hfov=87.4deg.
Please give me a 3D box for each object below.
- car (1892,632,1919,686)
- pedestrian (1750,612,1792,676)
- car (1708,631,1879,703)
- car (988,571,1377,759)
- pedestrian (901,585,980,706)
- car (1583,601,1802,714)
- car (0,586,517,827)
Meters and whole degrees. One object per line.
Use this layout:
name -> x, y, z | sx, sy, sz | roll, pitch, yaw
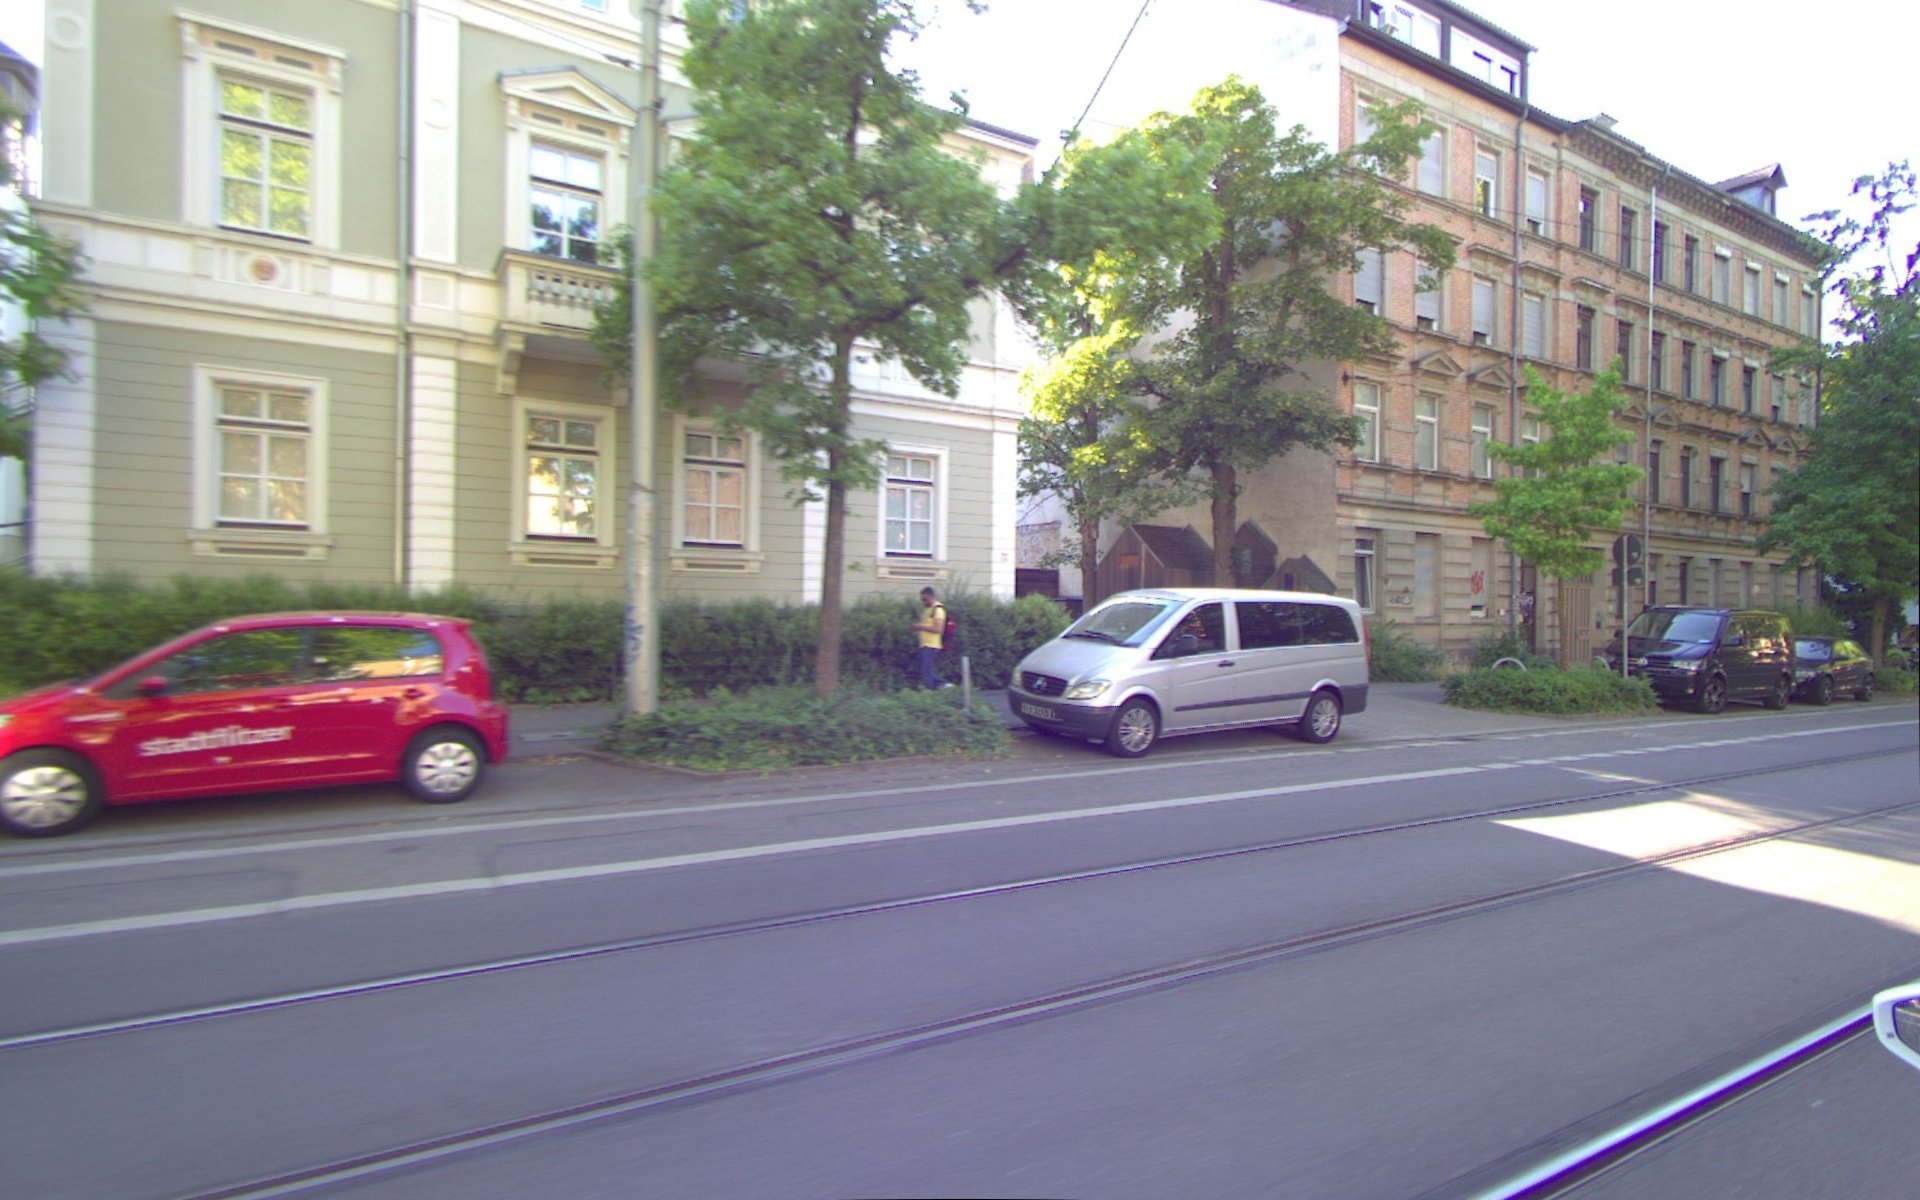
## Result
car -> 27.978, 1.657, 28.213 | 3.905, 1.464, 1.649 | 1, 0, -32
pedestrian -> 24.289, 1.315, 30.098 | 0.721, 1.872, 0.737 | 1, 1, -32
car -> 19.156, 1.484, 23.051 | 4.223, 1.478, 1.843 | 1, -1, -32
car -> 2.931, 0.749, 12.813 | 4.929, 2.015, 1.835 | 1, -1, -30
pedestrian -> -0.277, 0.633, 14.476 | 0.936, 1.684, 0.602 | 1, 1, -30
car -> 14.834, 1.105, 20.277 | 4.781, 2.040, 1.982 | 1, -1, -32
car -> -5.590, 0.723, 7.899 | 3.666, 1.560, 1.676 | 1, -1, -32
